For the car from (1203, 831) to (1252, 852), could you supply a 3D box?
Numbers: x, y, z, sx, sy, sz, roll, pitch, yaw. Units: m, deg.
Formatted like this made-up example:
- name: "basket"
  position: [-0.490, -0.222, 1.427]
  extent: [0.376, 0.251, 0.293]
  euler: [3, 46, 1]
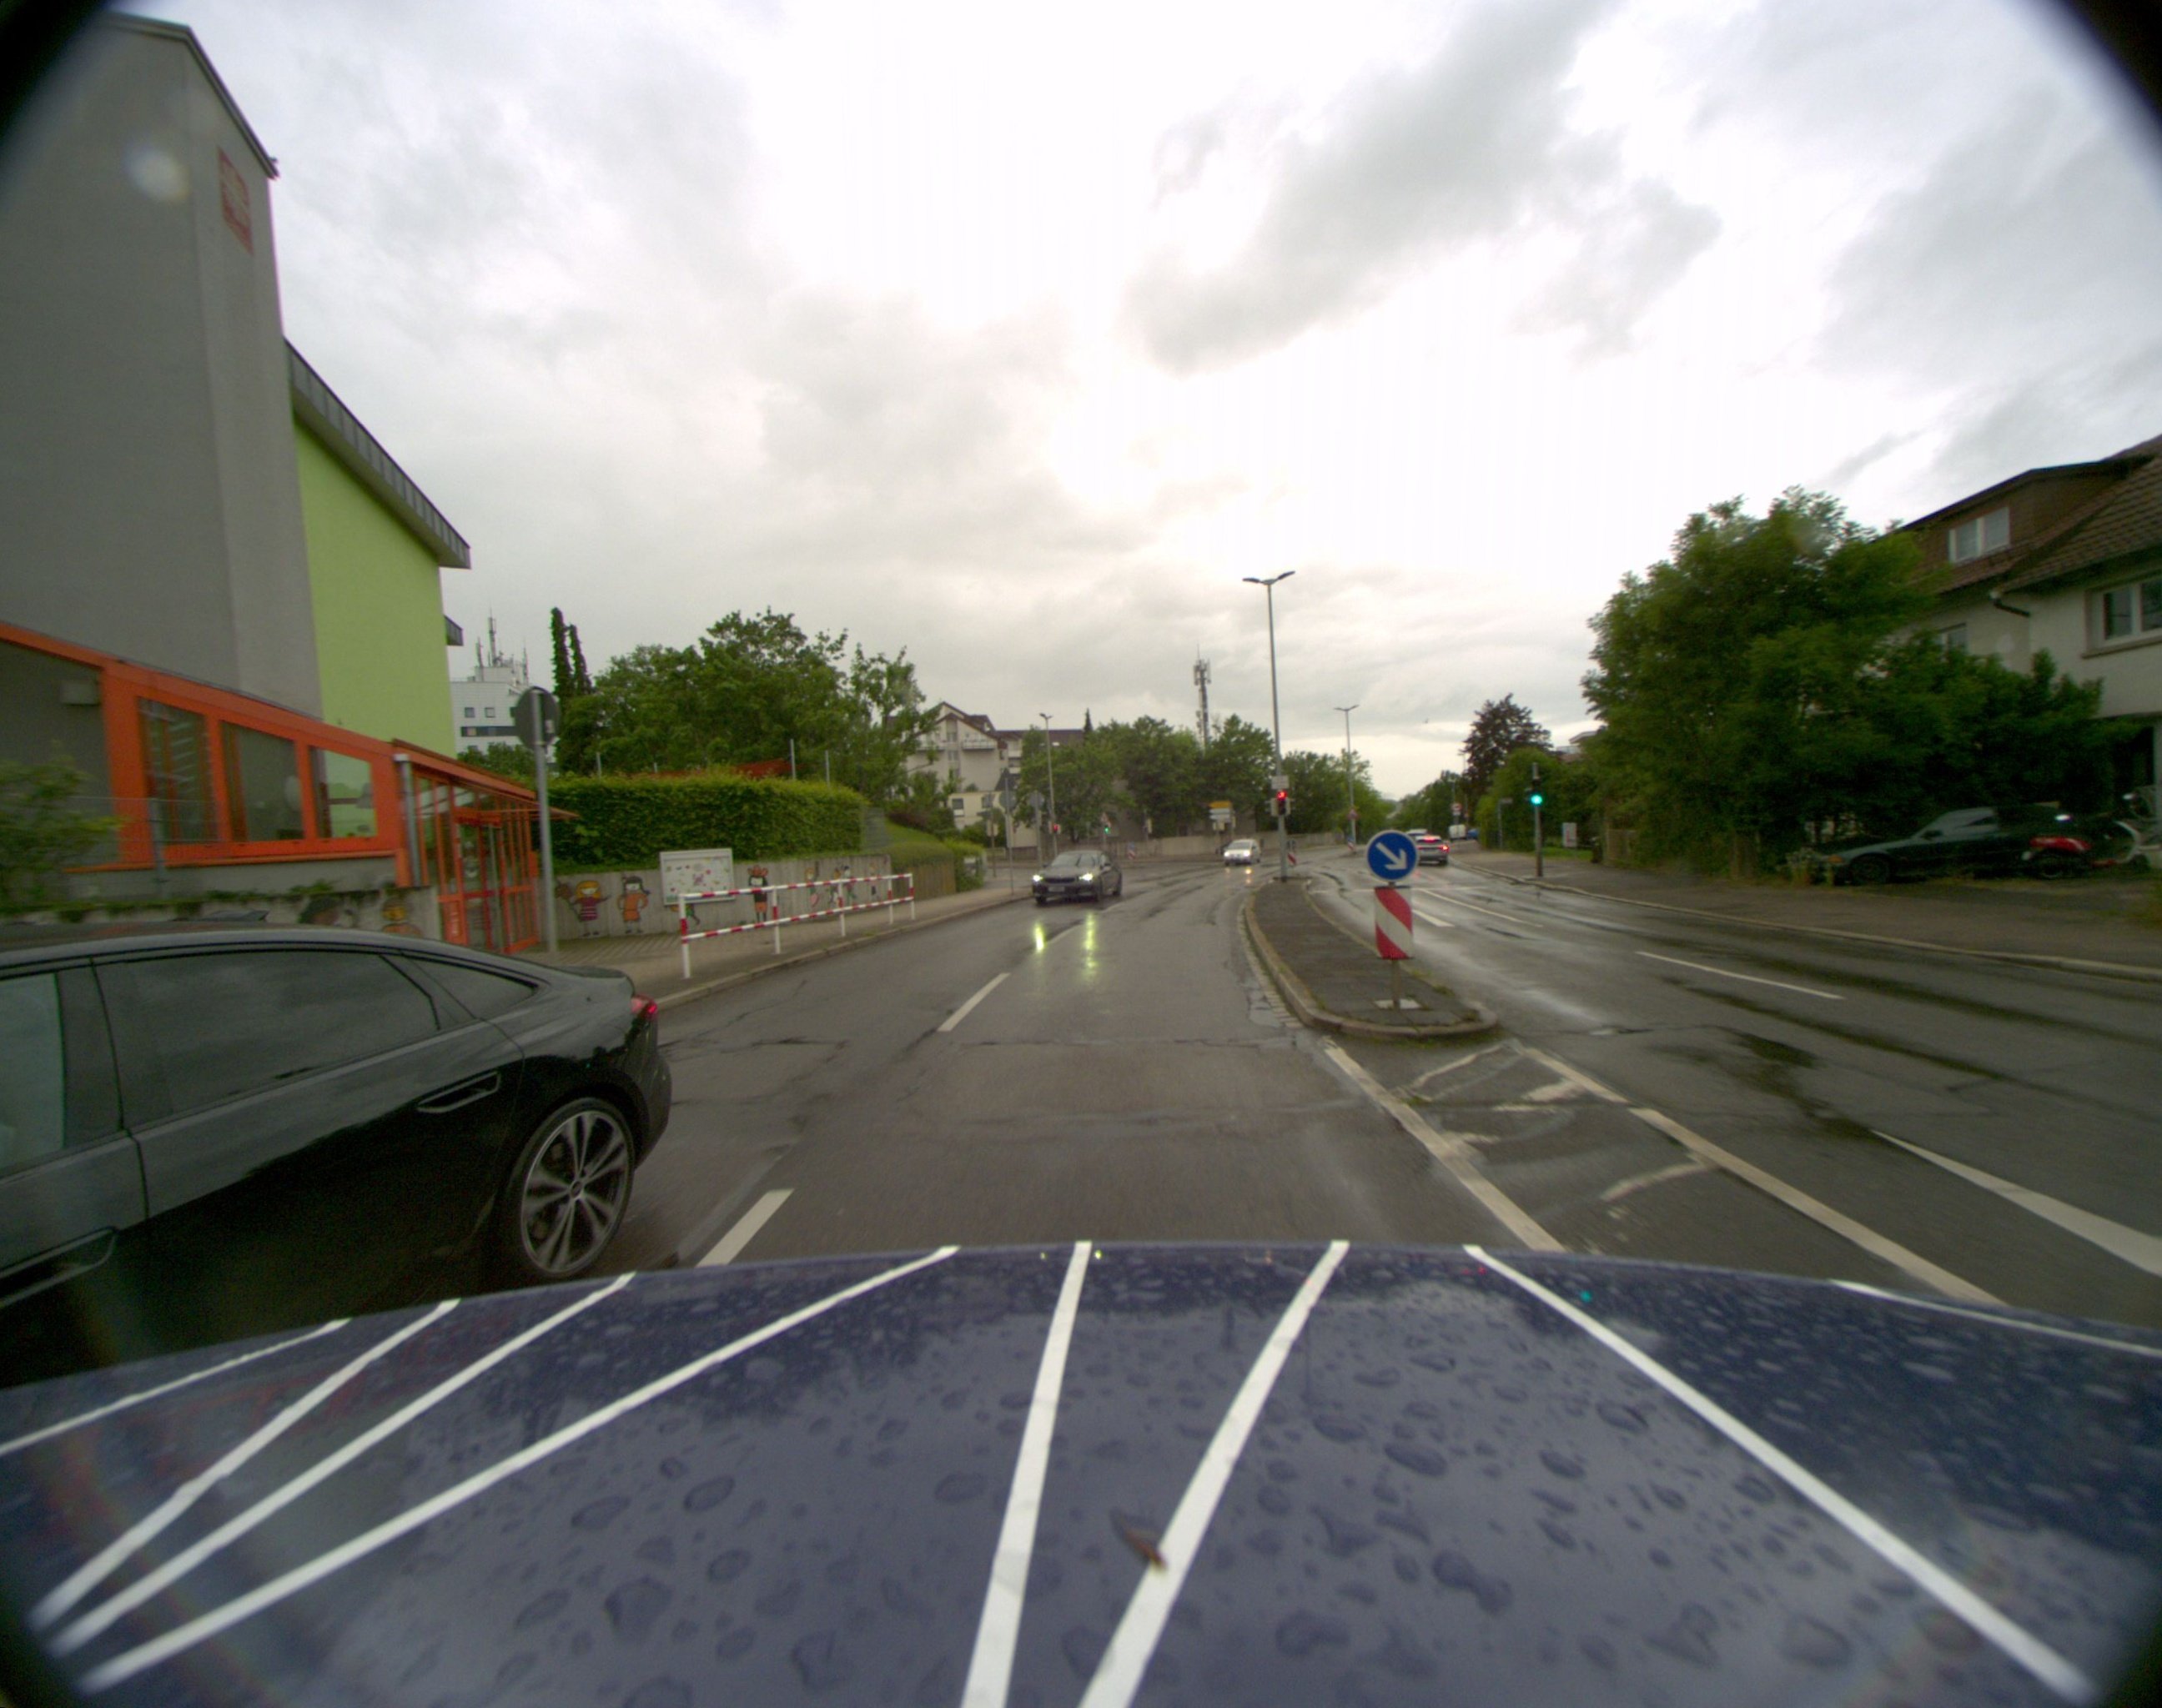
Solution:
- name: "car"
  position: [13.557, -1.123, 70.286]
  extent: [4.232, 1.647, 1.995]
  euler: [-5, 3, -32]

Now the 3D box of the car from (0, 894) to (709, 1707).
- name: "car"
  position: [-2.862, 1.058, 1.340]
  extent: [1.871, 1.416, 4.737]
  euler: [-4, 2, 2]

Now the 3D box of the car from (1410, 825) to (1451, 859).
- name: "car"
  position: [18.127, -0.663, 39.547]
  extent: [1.677, 1.442, 4.693]
  euler: [-3, 3, 22]

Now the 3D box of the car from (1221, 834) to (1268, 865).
- name: "car"
  position: [10.592, -0.310, 49.049]
  extent: [1.995, 1.647, 4.005]
  euler: [-2, 3, 26]

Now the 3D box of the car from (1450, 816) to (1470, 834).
- name: "car"
  position: [40.790, -3.134, 81.826]
  extent: [1.818, 1.708, 4.005]
  euler: [-2, 3, 27]

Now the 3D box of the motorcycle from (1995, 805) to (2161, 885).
- name: "motorcycle"
  position: [17.494, -0.155, 13.143]
  extent: [2.206, 1.084, 0.728]
  euler: [-7, 2, 6]

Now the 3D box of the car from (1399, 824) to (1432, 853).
- name: "car"
  position: [22.145, -1.048, 50.404]
  extent: [1.884, 1.668, 4.236]
  euler: [-3, 3, 23]

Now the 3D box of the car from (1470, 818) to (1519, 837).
- name: "car"
  position: [38.513, -2.472, 70.922]
  extent: [3.882, 1.448, 1.770]
  euler: [-3, 3, 25]

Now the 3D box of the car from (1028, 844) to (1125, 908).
- name: "car"
  position: [-0.015, 0.593, 22.909]
  extent: [1.870, 1.511, 4.002]
  euler: [-3, 3, 15]

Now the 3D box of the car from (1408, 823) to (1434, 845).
- name: "car"
  position: [27.292, -1.648, 60.922]
  extent: [1.866, 1.545, 4.452]
  euler: [-1, 3, 25]

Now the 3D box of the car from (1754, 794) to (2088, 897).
- name: "car"
  position: [16.214, -0.169, 14.916]
  extent: [3.995, 1.387, 1.933]
  euler: [-7, 1, 9]
